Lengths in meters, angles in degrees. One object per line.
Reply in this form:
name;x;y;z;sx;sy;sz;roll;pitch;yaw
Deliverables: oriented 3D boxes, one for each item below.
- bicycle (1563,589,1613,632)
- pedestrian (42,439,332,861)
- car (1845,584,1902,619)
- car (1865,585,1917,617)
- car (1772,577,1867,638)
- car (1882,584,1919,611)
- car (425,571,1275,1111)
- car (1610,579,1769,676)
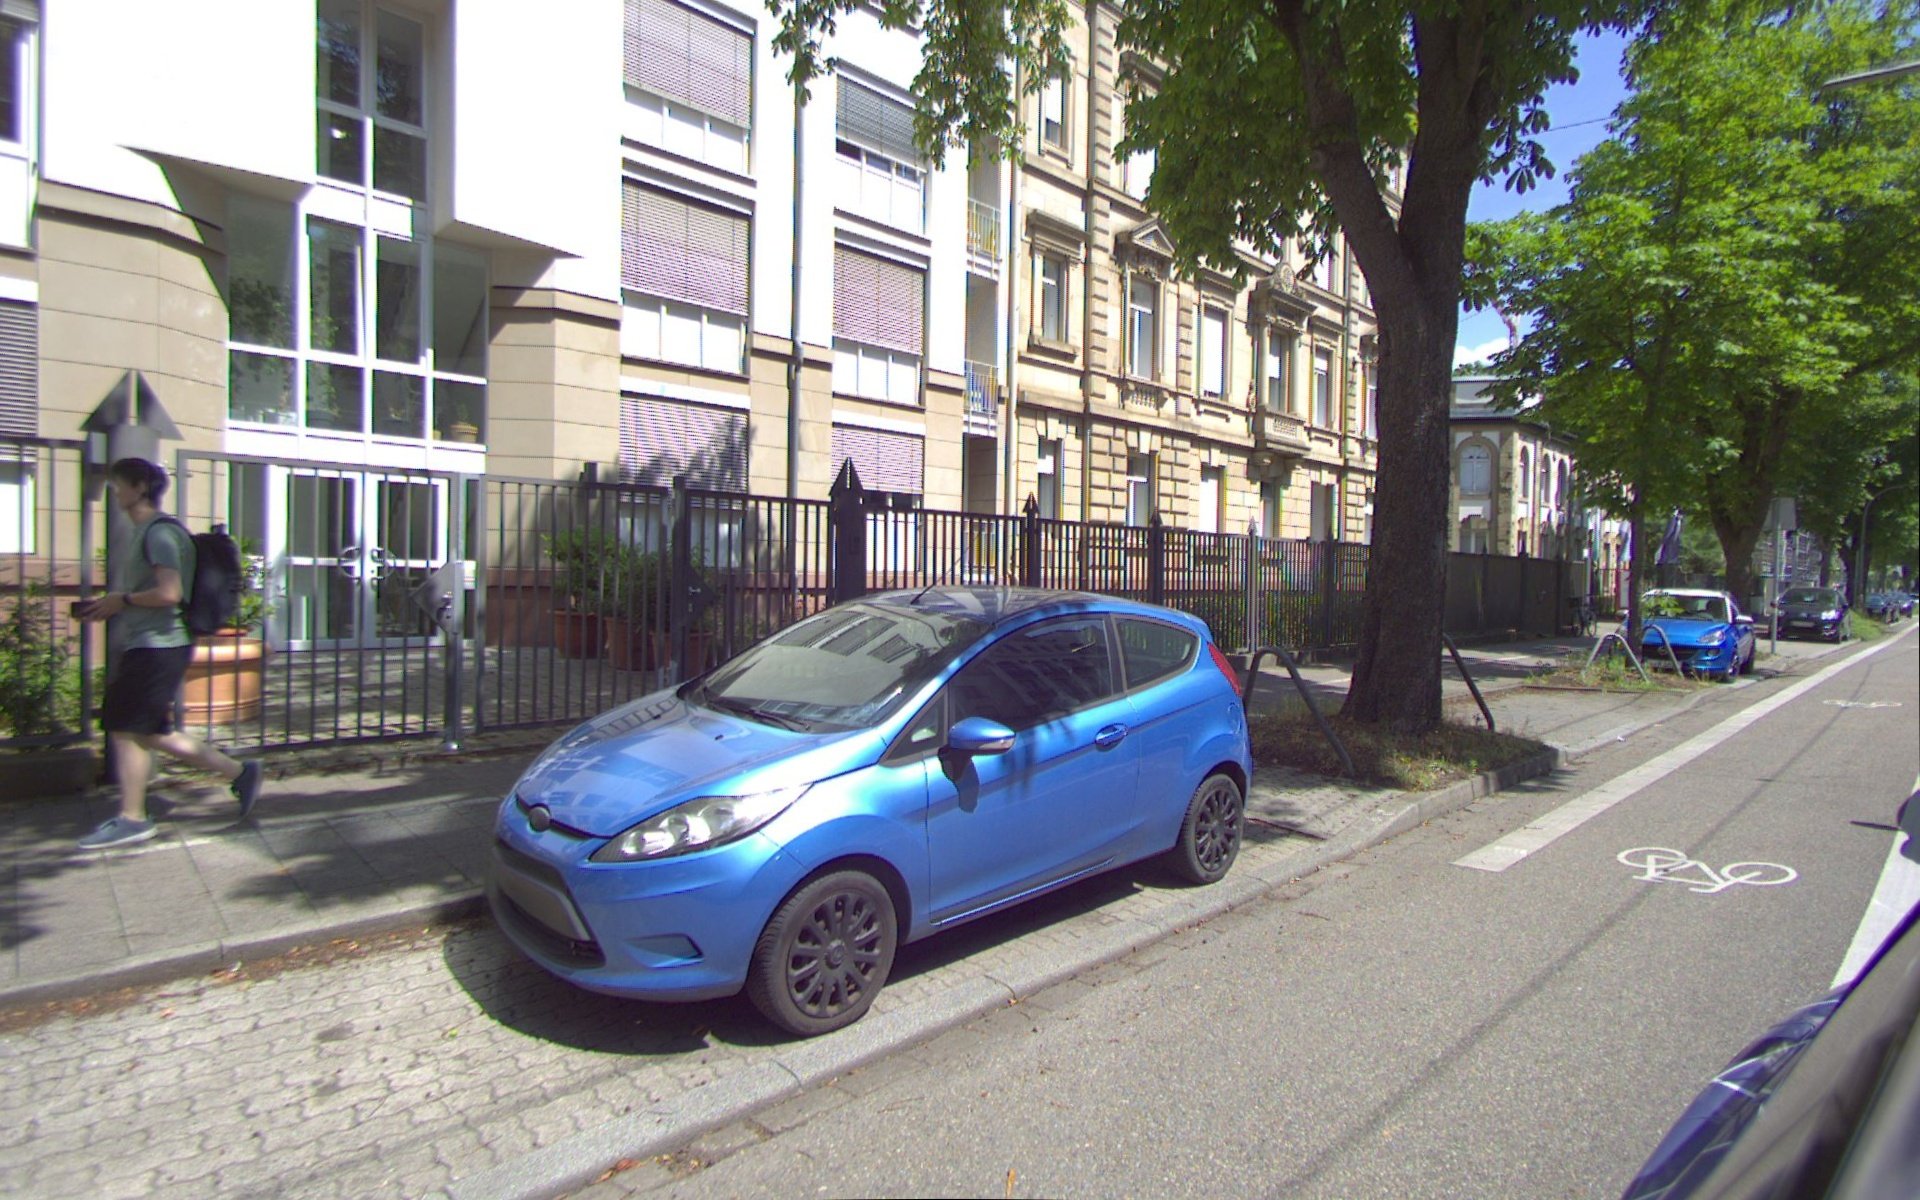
bicycle;16.475;0.251;26.527;1.946;1.084;0.608;0;2;-43
pedestrian;-3.793;0.204;4.985;1.066;1.820;0.685;0;2;-44
car;41.375;0.028;45.809;3.760;1.420;1.624;-1;4;-44
car;45.938;0.044;49.912;3.934;1.420;1.624;-1;4;-44
car;25.908;0.175;30.459;4.017;1.635;1.732;-1;4;-44
car;54.779;-0.177;58.713;3.934;1.420;1.624;-1;4;-44
car;-0.219;0.626;4.663;1.678;1.461;3.661;2;2;45
car;12.623;0.397;17.444;1.692;1.471;3.418;2;2;45
